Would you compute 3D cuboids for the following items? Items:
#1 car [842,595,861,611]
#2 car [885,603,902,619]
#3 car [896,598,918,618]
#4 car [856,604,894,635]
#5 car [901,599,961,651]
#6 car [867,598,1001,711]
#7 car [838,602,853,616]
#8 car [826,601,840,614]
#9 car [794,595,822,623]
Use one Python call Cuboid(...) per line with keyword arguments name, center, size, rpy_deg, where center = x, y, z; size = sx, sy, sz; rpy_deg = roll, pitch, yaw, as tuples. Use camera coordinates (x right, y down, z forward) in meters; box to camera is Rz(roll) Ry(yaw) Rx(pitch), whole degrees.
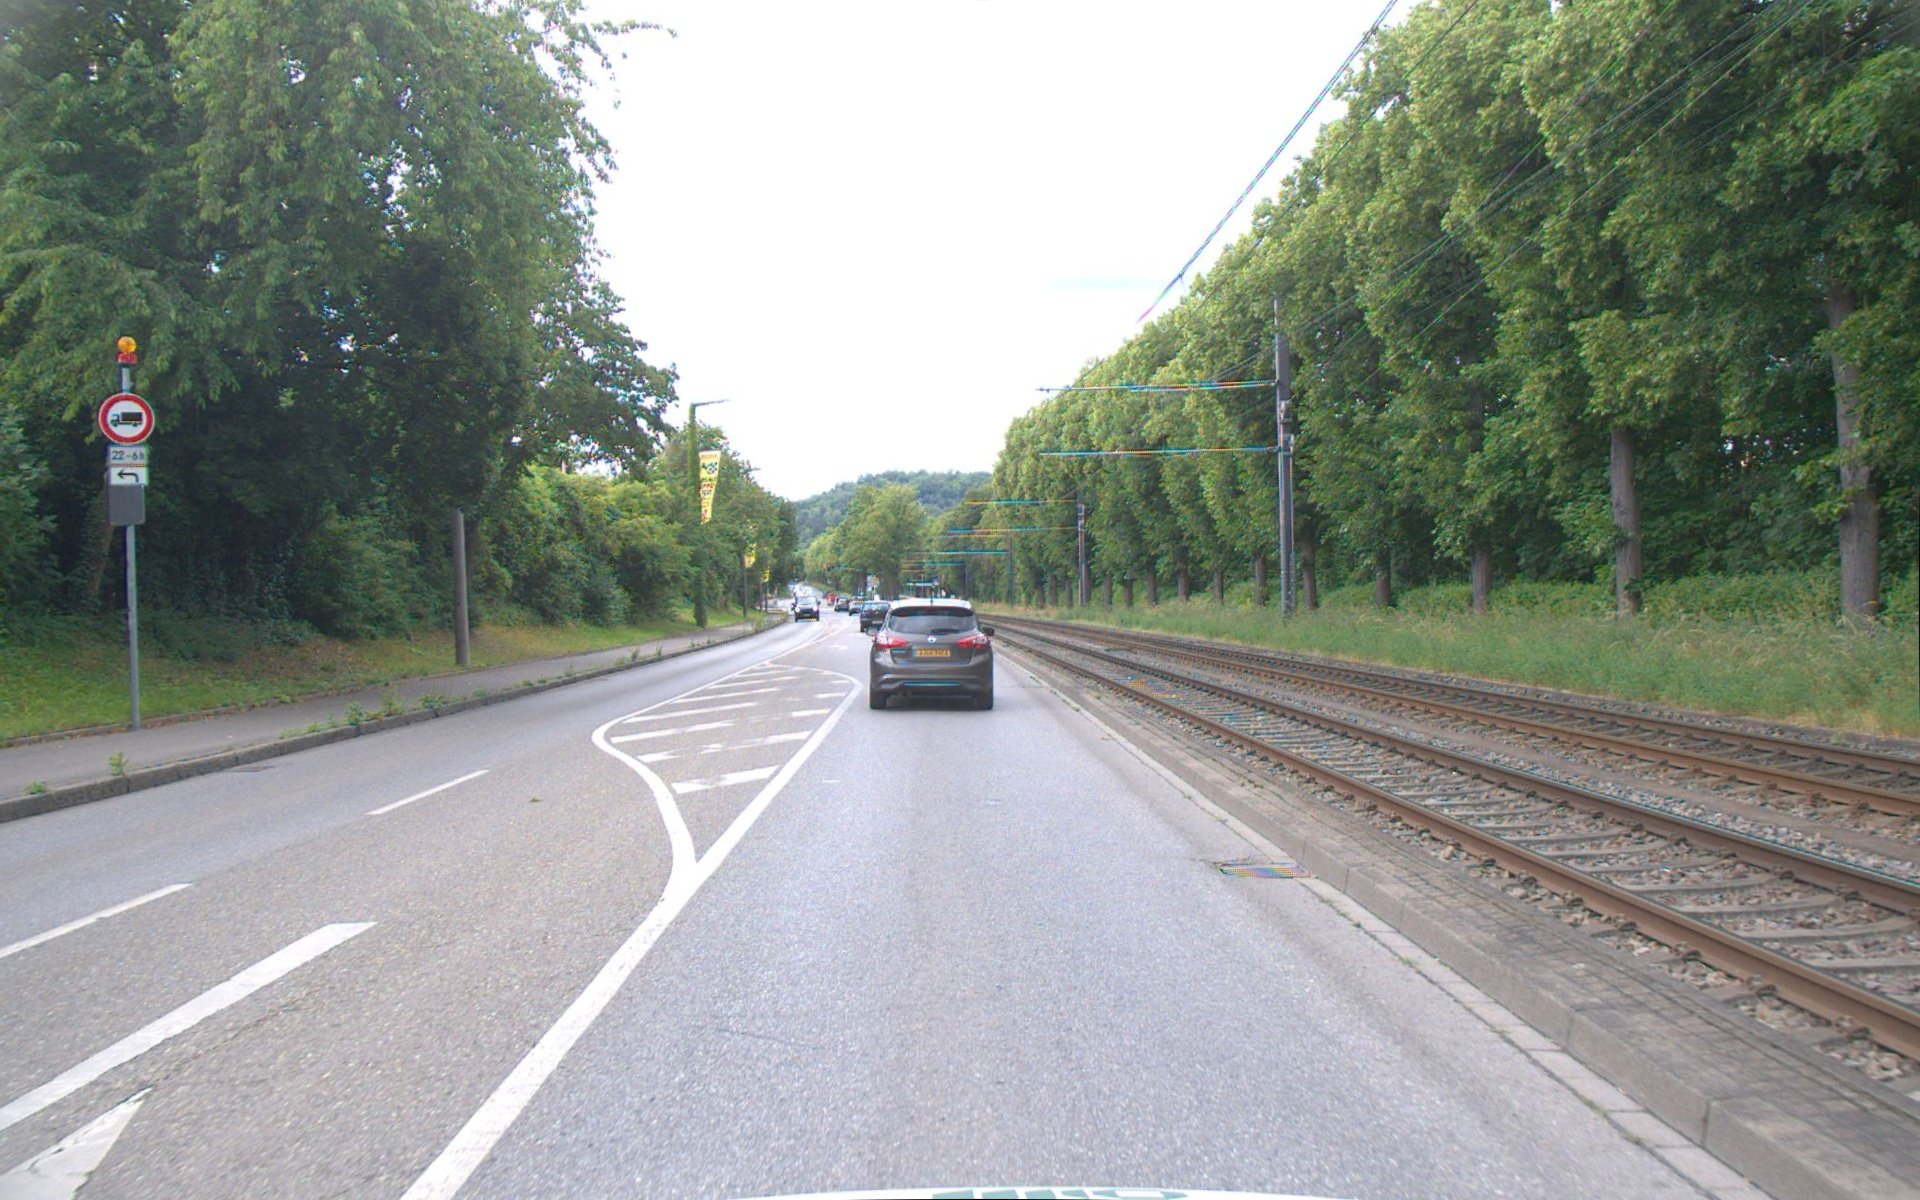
Cuboid(name="car", center=(-10.852, 0.288, 165.675), size=(1.758, 1.537, 3.999), rpy_deg=(0, 0, -1))
Cuboid(name="car", center=(-6.920, 1.121, 171.255), size=(1.681, 1.577, 3.997), rpy_deg=(0, -1, -3))
Cuboid(name="car", center=(-4.129, 0.621, 129.729), size=(1.665, 1.469, 3.999), rpy_deg=(0, 0, -1))
Cuboid(name="car", center=(-4.060, 0.932, 79.713), size=(1.665, 1.469, 3.999), rpy_deg=(0, 0, -1))
Cuboid(name="car", center=(-0.895, 0.700, 48.743), size=(1.665, 1.469, 3.998), rpy_deg=(0, 0, -2))
Cuboid(name="car", center=(-0.372, 0.732, 24.319), size=(1.813, 1.519, 3.999), rpy_deg=(0, 0, -1))
Cuboid(name="car", center=(-14.424, 1.149, 208.579), size=(1.665, 1.744, 3.999), rpy_deg=(0, 0, -1))
Cuboid(name="car", center=(-16.797, 1.014, 218.344), size=(1.665, 1.744, 3.999), rpy_deg=(0, 0, -1))
Cuboid(name="car", center=(-12.025, 0.690, 131.381), size=(1.954, 2.072, 5.112), rpy_deg=(-3, 0, -3))
